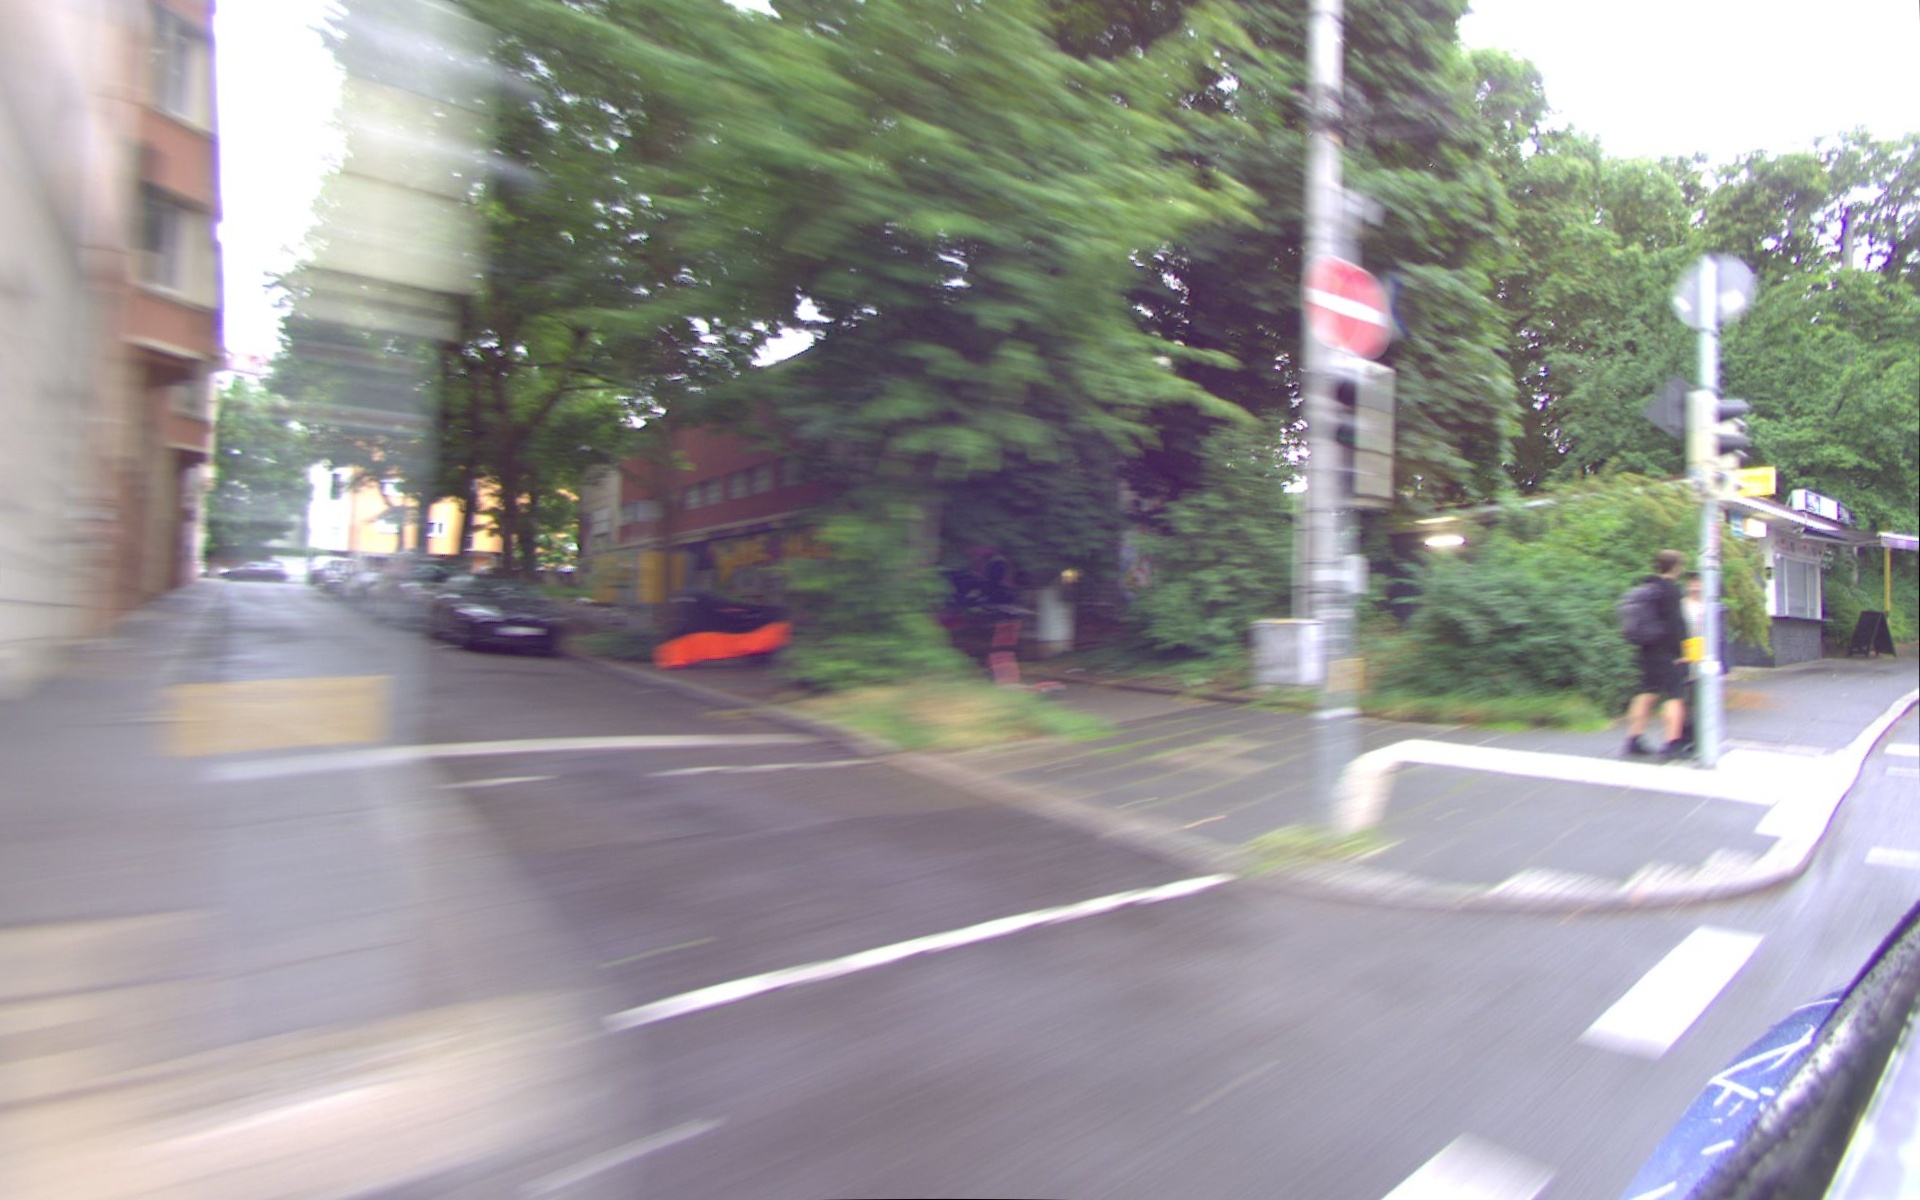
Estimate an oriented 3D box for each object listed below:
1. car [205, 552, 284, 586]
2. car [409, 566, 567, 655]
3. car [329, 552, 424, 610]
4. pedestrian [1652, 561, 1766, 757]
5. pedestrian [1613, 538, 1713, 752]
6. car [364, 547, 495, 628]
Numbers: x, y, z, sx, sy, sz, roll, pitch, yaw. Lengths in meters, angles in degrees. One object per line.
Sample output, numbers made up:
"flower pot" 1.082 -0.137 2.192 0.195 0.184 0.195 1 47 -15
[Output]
"car" -45.156 -1.936 63.876 3.930 2.039 1.997 0 1 -41
"car" -9.017 0.110 19.187 1.749 1.437 3.996 -1 3 -40
"car" -18.859 -0.648 32.597 1.834 1.710 4.758 -2 2 -40
"pedestrian" 6.873 0.516 9.296 0.545 1.716 0.696 -1 -1 -39
"pedestrian" 6.296 0.382 9.069 0.639 1.836 0.555 -1 -1 -39
"car" -12.482 -0.344 23.687 1.834 1.710 4.322 -2 2 -40
